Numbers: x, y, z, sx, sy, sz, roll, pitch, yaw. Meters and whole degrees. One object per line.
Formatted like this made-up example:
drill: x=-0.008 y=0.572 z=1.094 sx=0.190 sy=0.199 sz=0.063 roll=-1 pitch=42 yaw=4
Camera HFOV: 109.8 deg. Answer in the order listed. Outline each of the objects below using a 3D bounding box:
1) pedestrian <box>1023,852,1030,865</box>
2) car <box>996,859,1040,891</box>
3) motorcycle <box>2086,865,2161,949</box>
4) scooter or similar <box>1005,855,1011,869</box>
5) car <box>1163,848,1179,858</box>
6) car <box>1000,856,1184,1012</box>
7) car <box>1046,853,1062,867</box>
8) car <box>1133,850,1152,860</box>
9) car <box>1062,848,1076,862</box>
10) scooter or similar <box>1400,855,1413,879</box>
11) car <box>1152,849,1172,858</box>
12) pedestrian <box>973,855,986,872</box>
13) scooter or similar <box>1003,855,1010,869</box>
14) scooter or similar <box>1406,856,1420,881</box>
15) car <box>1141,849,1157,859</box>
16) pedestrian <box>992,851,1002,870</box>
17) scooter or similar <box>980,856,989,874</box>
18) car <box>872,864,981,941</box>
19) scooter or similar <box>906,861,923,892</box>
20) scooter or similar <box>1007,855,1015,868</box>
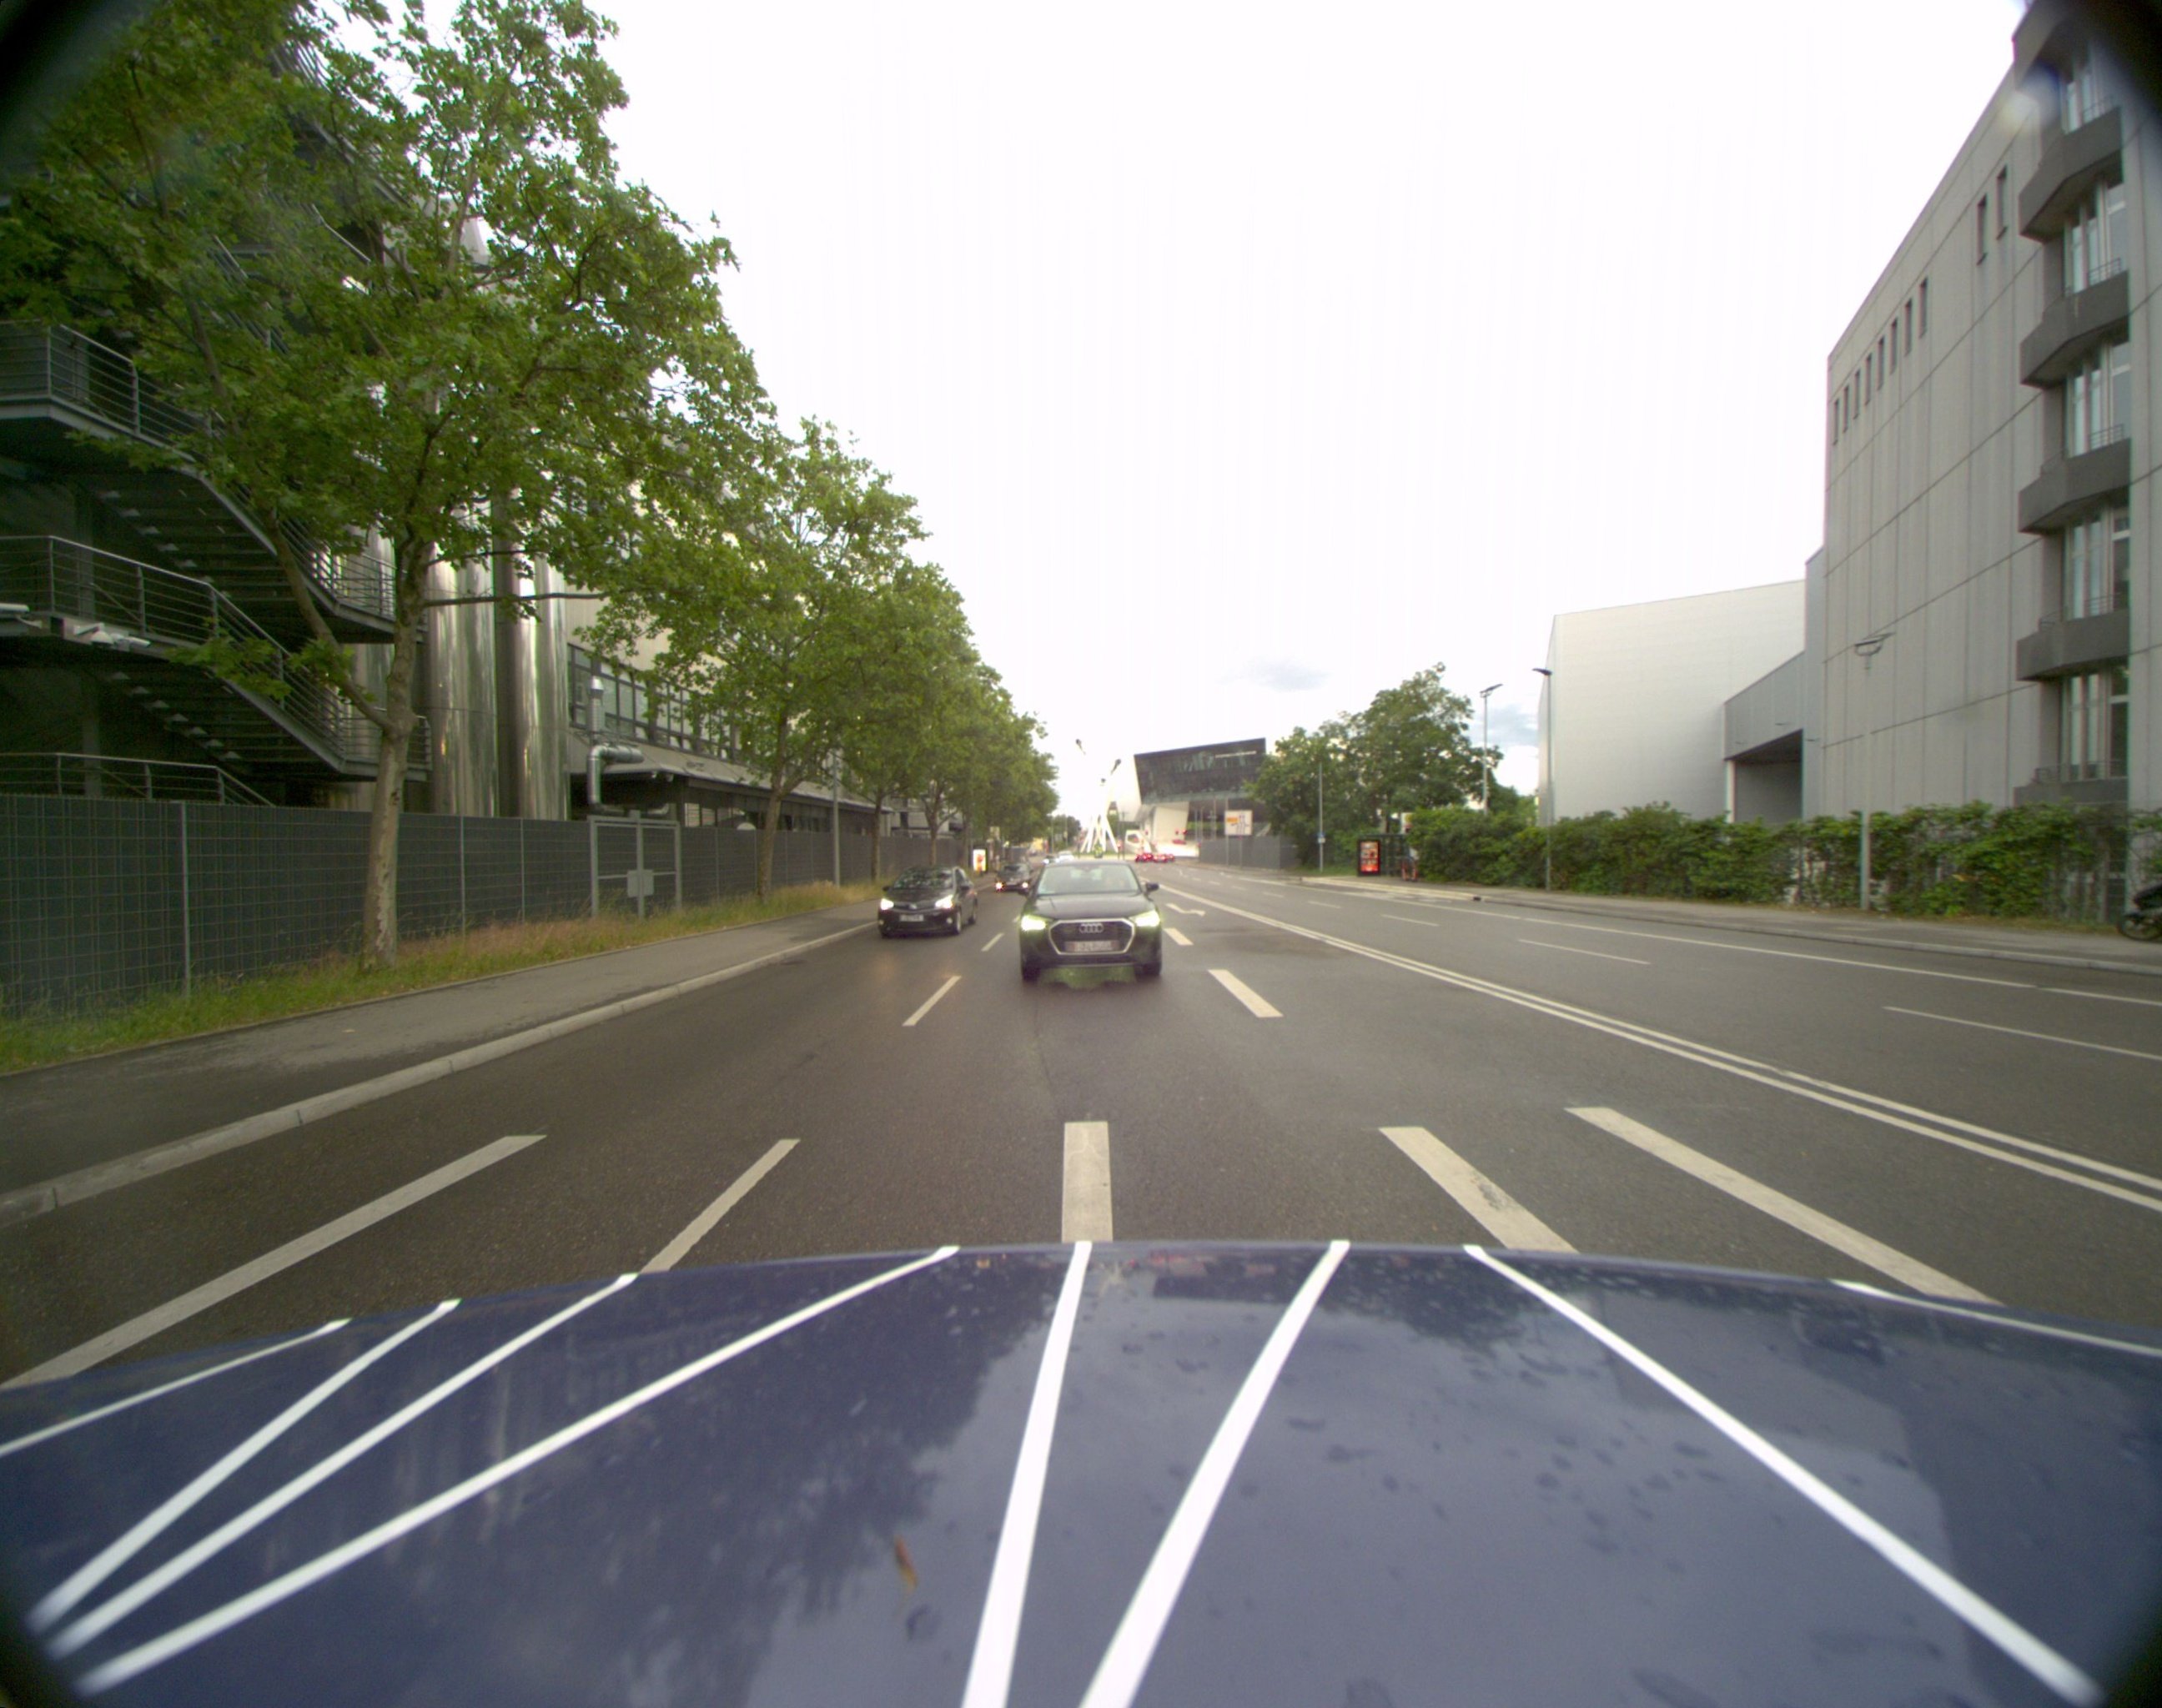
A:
pedestrian: x=-6.677 y=0.567 z=92.751 sx=0.723 sy=1.610 sz=0.833 roll=1 pitch=1 yaw=-1
car: x=-3.108 y=1.003 z=38.217 sx=1.842 sy=1.444 sz=4.785 roll=-2 pitch=0 yaw=-1
motorcycle: x=16.710 y=0.817 z=11.249 sx=0.786 sy=1.243 sz=2.157 roll=-1 pitch=0 yaw=0
scooter or similar: x=-7.057 y=0.761 z=73.501 sx=0.437 sy=1.288 sz=1.300 roll=-1 pitch=1 yaw=3
car: x=15.048 y=-0.257 z=127.349 sx=1.862 sy=1.641 sz=3.792 roll=0 pitch=0 yaw=19
car: x=0.064 y=0.878 z=10.916 sx=1.951 sy=1.609 sz=5.276 roll=-2 pitch=0 yaw=-1
car: x=-3.282 y=0.746 z=92.476 sx=1.951 sy=1.610 sz=4.072 roll=0 pitch=0 yaw=-1
car: x=9.989 y=0.133 z=122.439 sx=2.255 sy=1.469 sz=3.884 roll=-1 pitch=1 yaw=18
car: x=-1.681 y=0.093 z=105.519 sx=1.951 sy=1.879 sz=4.490 roll=0 pitch=0 yaw=-1
scooter or similar: x=16.380 y=0.654 z=38.220 sx=0.389 sy=1.173 sz=1.251 roll=0 pitch=1 yaw=14
car: x=12.844 y=-0.074 z=120.444 sx=2.267 sy=1.469 sz=4.052 roll=-1 pitch=1 yaw=18
pedestrian: x=-8.537 y=0.778 z=63.847 sx=0.932 sy=1.408 sz=0.698 roll=-1 pitch=1 yaw=-1
scooter or similar: x=-6.956 y=0.772 z=71.346 sx=0.437 sy=1.288 sz=1.300 roll=-1 pitch=1 yaw=3
scooter or similar: x=16.093 y=0.676 z=36.870 sx=0.379 sy=1.174 sz=1.379 roll=0 pitch=1 yaw=14
car: x=11.481 y=0.017 z=127.939 sx=1.878 sy=1.641 sz=3.857 roll=0 pitch=0 yaw=16
pedestrian: x=-7.510 y=0.569 z=67.624 sx=0.778 sy=1.700 sz=0.729 roll=-1 pitch=1 yaw=-1
scooter or similar: x=-6.954 y=0.800 z=54.844 sx=0.329 sy=1.301 sz=1.246 roll=-1 pitch=1 yaw=4
car: x=-3.378 y=1.003 z=17.395 sx=1.881 sy=1.485 sz=4.075 roll=0 pitch=0 yaw=-3
scooter or similar: x=-7.025 y=0.922 z=32.061 sx=0.329 sy=1.262 sz=1.109 roll=-1 pitch=1 yaw=9
scooter or similar: x=-6.952 y=0.746 z=75.440 sx=0.437 sy=1.288 sz=1.367 roll=-1 pitch=1 yaw=7
